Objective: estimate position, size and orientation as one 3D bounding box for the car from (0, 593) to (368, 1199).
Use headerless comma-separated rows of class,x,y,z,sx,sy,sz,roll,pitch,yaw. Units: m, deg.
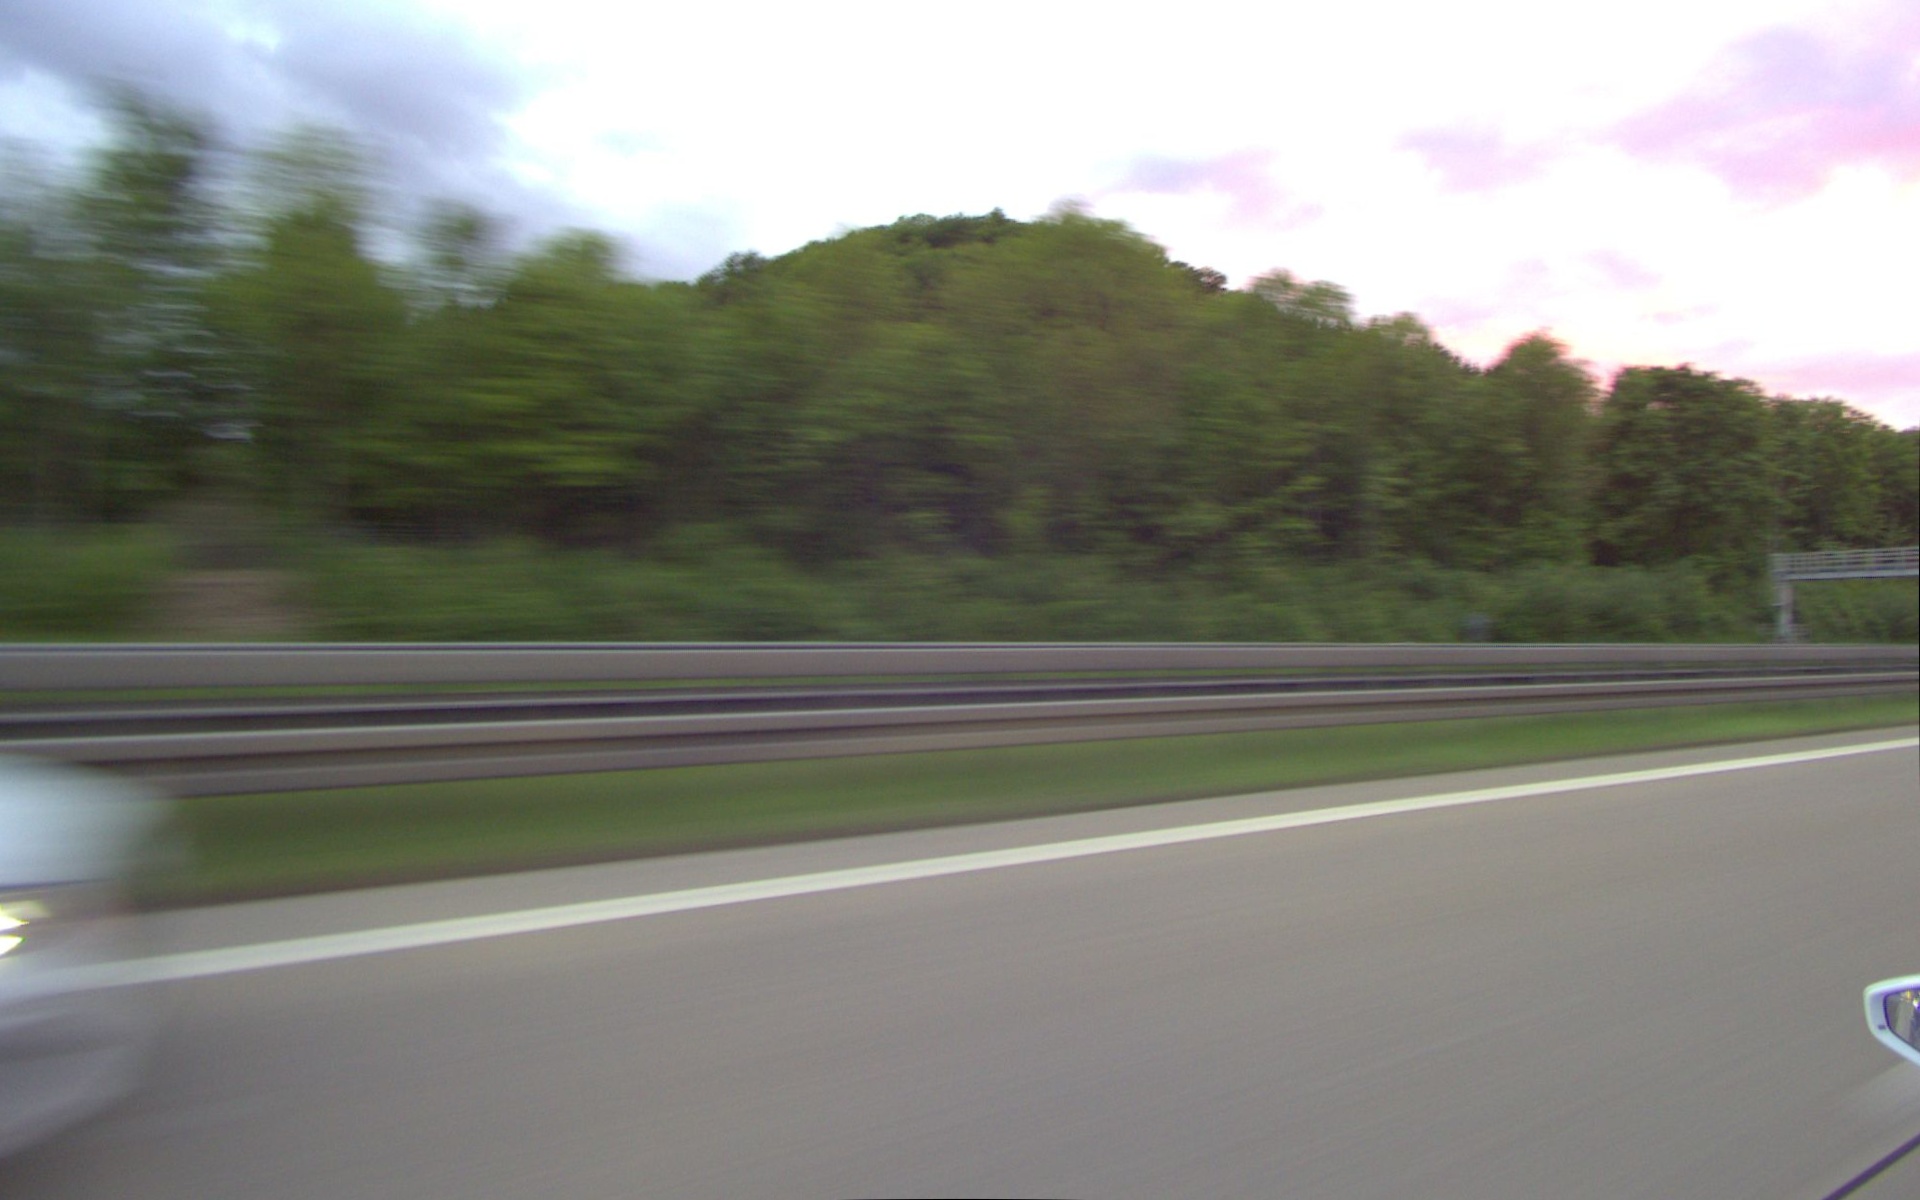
car,-3.902,0.706,1.668,4.979,1.521,1.780,2,0,-31
